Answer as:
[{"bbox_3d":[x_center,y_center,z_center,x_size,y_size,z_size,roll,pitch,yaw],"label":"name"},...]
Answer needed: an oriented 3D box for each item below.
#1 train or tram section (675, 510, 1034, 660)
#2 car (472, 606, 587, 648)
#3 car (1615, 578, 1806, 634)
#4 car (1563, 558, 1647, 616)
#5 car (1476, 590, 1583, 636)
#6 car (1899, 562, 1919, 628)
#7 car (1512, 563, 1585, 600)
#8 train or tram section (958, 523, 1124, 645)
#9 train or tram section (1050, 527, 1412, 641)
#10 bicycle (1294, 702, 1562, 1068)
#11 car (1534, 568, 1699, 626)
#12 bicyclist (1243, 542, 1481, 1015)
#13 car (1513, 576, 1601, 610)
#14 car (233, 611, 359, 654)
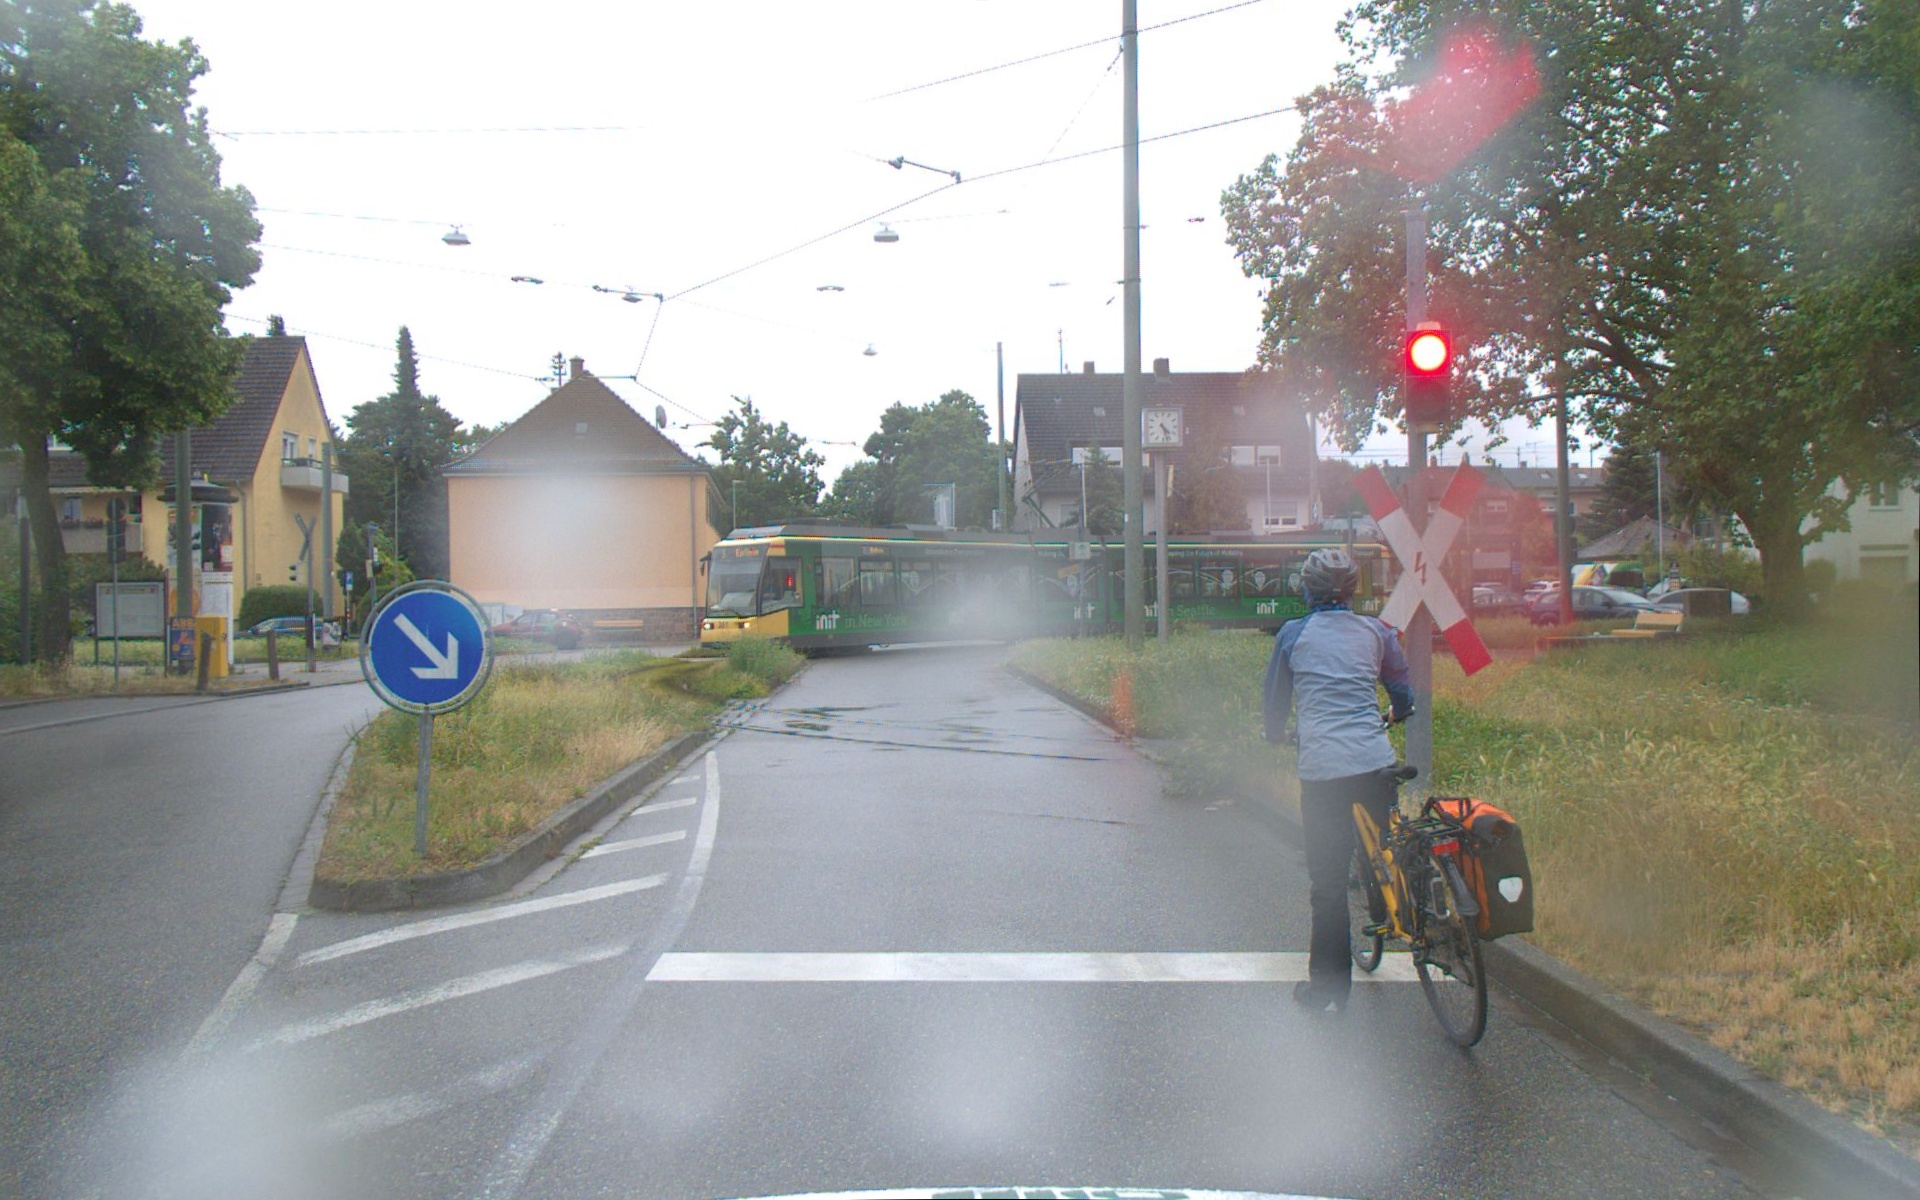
[{"bbox_3d":[-2.446,-0.437,45.394,2.715,3.615,12.156,1,1,36],"label":"train or tram section"},{"bbox_3d":[-16.185,1.012,62.329,3.911,1.482,1.831,1,0,-7],"label":"car"},{"bbox_3d":[18.470,0.148,40.860,3.902,1.308,1.847,1,0,6],"label":"car"},{"bbox_3d":[28.826,-0.571,74.026,1.953,2.485,4.352,1,0,-2],"label":"car"},{"bbox_3d":[22.611,0.503,65.742,3.609,1.731,1.890,1,0,0],"label":"car"},{"bbox_3d":[28.140,-0.116,45.528,3.703,1.829,1.798,1,-1,43],"label":"car"},{"bbox_3d":[34.243,-1.056,96.299,1.963,2.049,3.978,1,0,-19],"label":"car"},{"bbox_3d":[2.579,-0.494,51.964,2.720,3.615,4.959,1,0,41],"label":"train or tram section"},{"bbox_3d":[9.357,-0.463,56.111,12.926,3.615,2.747,1,0,-26],"label":"train or tram section"},{"bbox_3d":[1.651,0.951,6.076,0.437,1.022,1.727,-1,1,-2],"label":"bicycle"},{"bbox_3d":[18.018,-0.077,45.497,3.848,1.522,1.798,1,-1,43],"label":"car"},{"bbox_3d":[1.491,0.632,6.253,0.653,1.654,0.852,1,-1,-2],"label":"bicyclist"},{"bbox_3d":[31.066,-0.365,86.073,3.905,1.668,1.846,1,0,-1],"label":"car"},{"bbox_3d":[-24.440,1.194,60.958,3.911,1.482,1.831,1,0,-7],"label":"car"}]
